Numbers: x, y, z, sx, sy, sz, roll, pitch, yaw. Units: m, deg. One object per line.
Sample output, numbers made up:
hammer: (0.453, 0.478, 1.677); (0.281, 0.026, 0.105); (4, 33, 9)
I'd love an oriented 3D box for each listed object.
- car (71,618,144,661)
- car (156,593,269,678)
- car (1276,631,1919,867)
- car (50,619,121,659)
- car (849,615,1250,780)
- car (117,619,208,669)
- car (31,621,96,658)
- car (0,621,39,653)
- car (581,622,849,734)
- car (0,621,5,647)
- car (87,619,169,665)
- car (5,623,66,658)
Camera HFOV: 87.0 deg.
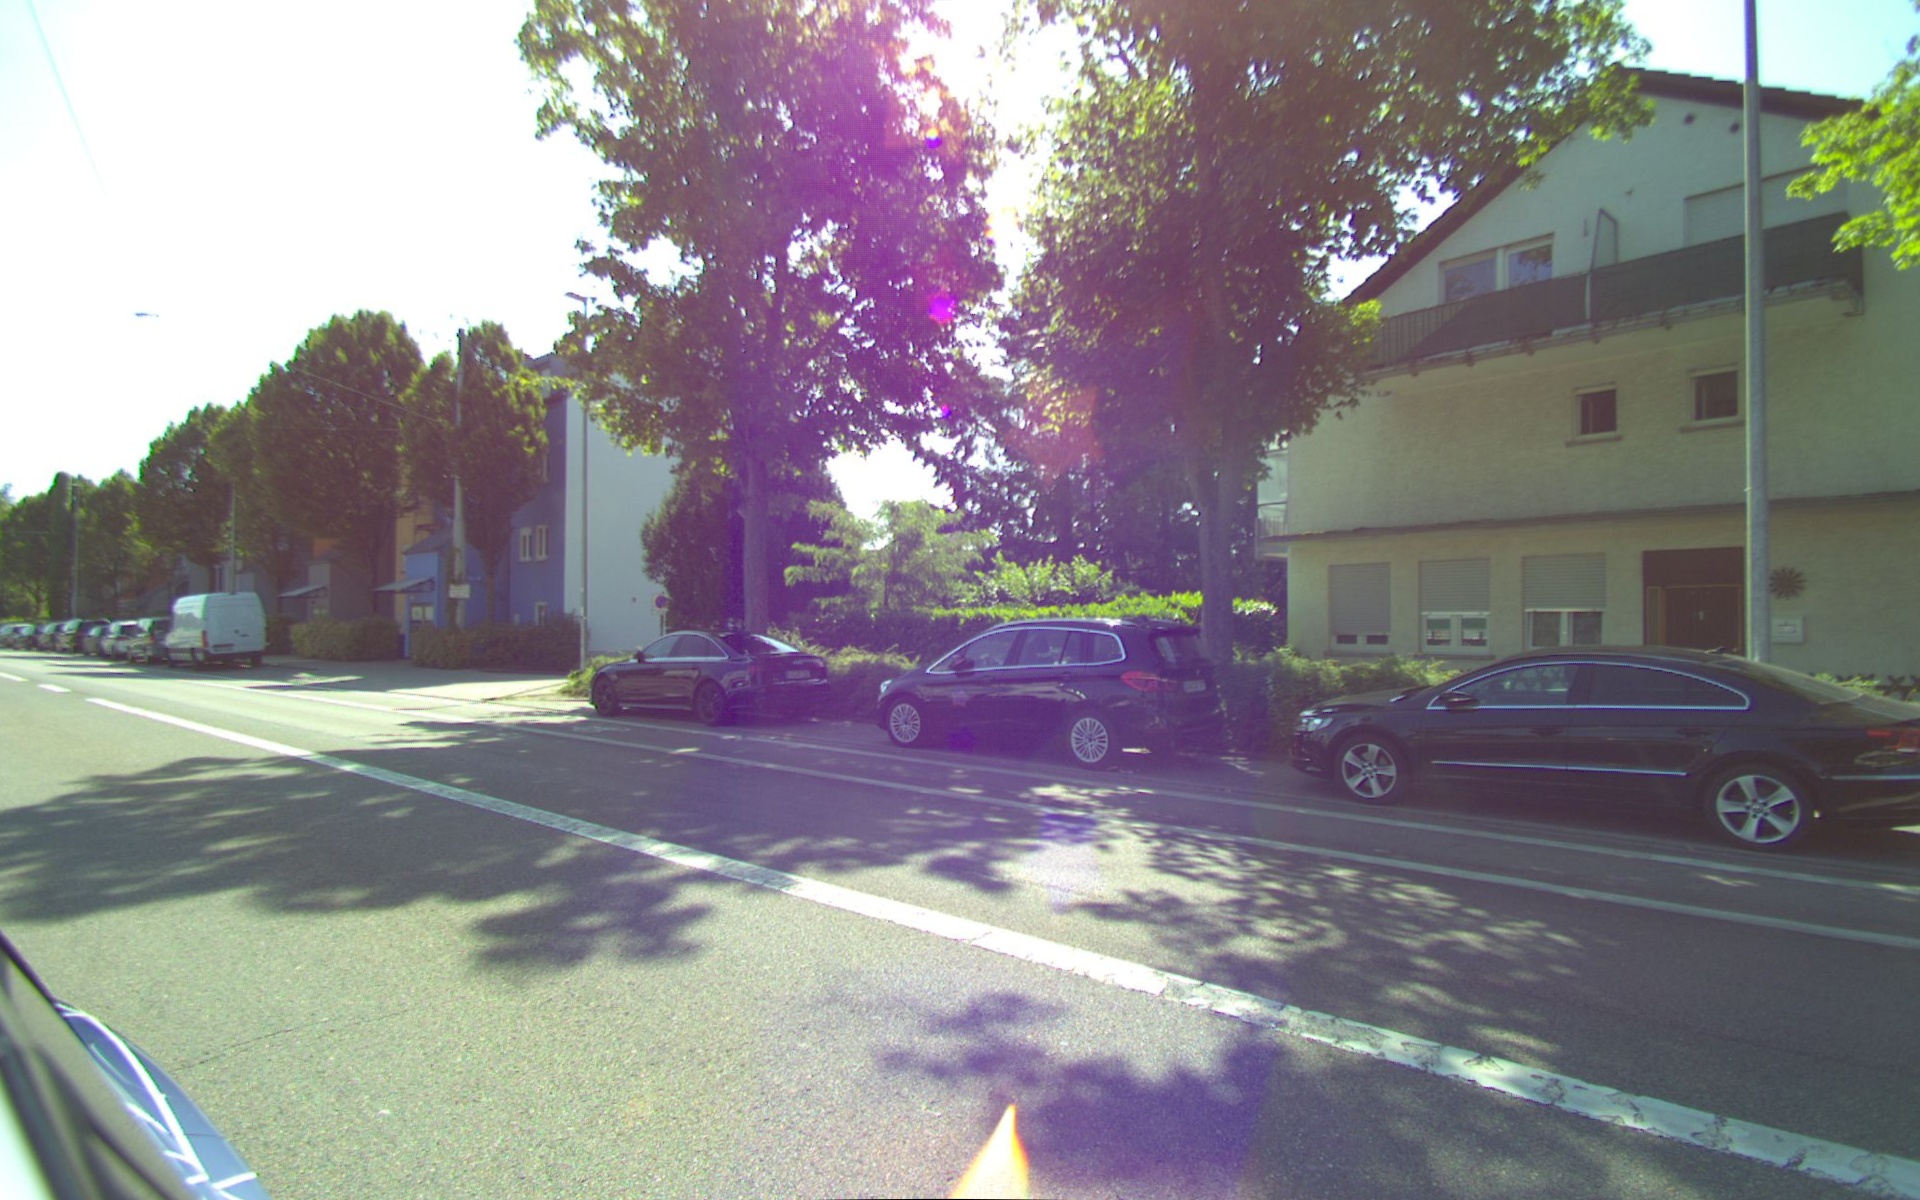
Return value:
car: (-42.131, 1.929, 49.992); (4.254, 1.818, 1.974); (-2, 4, 41)
car: (-27.375, 1.242, 36.953); (6.213, 2.713, 1.973); (-2, 4, 43)
car: (5.231, 1.010, 8.411); (4.619, 1.426, 1.844); (-1, 0, 41)
car: (-45.855, 2.014, 53.031); (4.766, 1.818, 1.974); (-2, 4, 41)
car: (0.917, 1.017, 12.228); (4.619, 1.583, 1.844); (-1, 0, 41)
car: (-33.521, 1.814, 42.502); (4.766, 1.818, 1.974); (-2, 4, 41)
car: (-50.232, 2.198, 56.678); (4.766, 1.818, 1.974); (-2, 4, 41)
car: (-60.243, 2.359, 64.231); (4.766, 1.818, 1.974); (-2, 4, 41)
car: (-4.084, 1.155, 16.511); (4.616, 1.583, 1.845); (-1, -2, 39)
car: (-68.793, 2.481, 71.007); (4.766, 1.818, 1.974); (-2, 4, 41)
car: (-38.075, 1.883, 46.299); (4.766, 1.818, 1.974); (-2, 4, 41)
car: (-54.909, 2.383, 60.099); (4.766, 1.818, 1.974); (-2, 4, 41)
